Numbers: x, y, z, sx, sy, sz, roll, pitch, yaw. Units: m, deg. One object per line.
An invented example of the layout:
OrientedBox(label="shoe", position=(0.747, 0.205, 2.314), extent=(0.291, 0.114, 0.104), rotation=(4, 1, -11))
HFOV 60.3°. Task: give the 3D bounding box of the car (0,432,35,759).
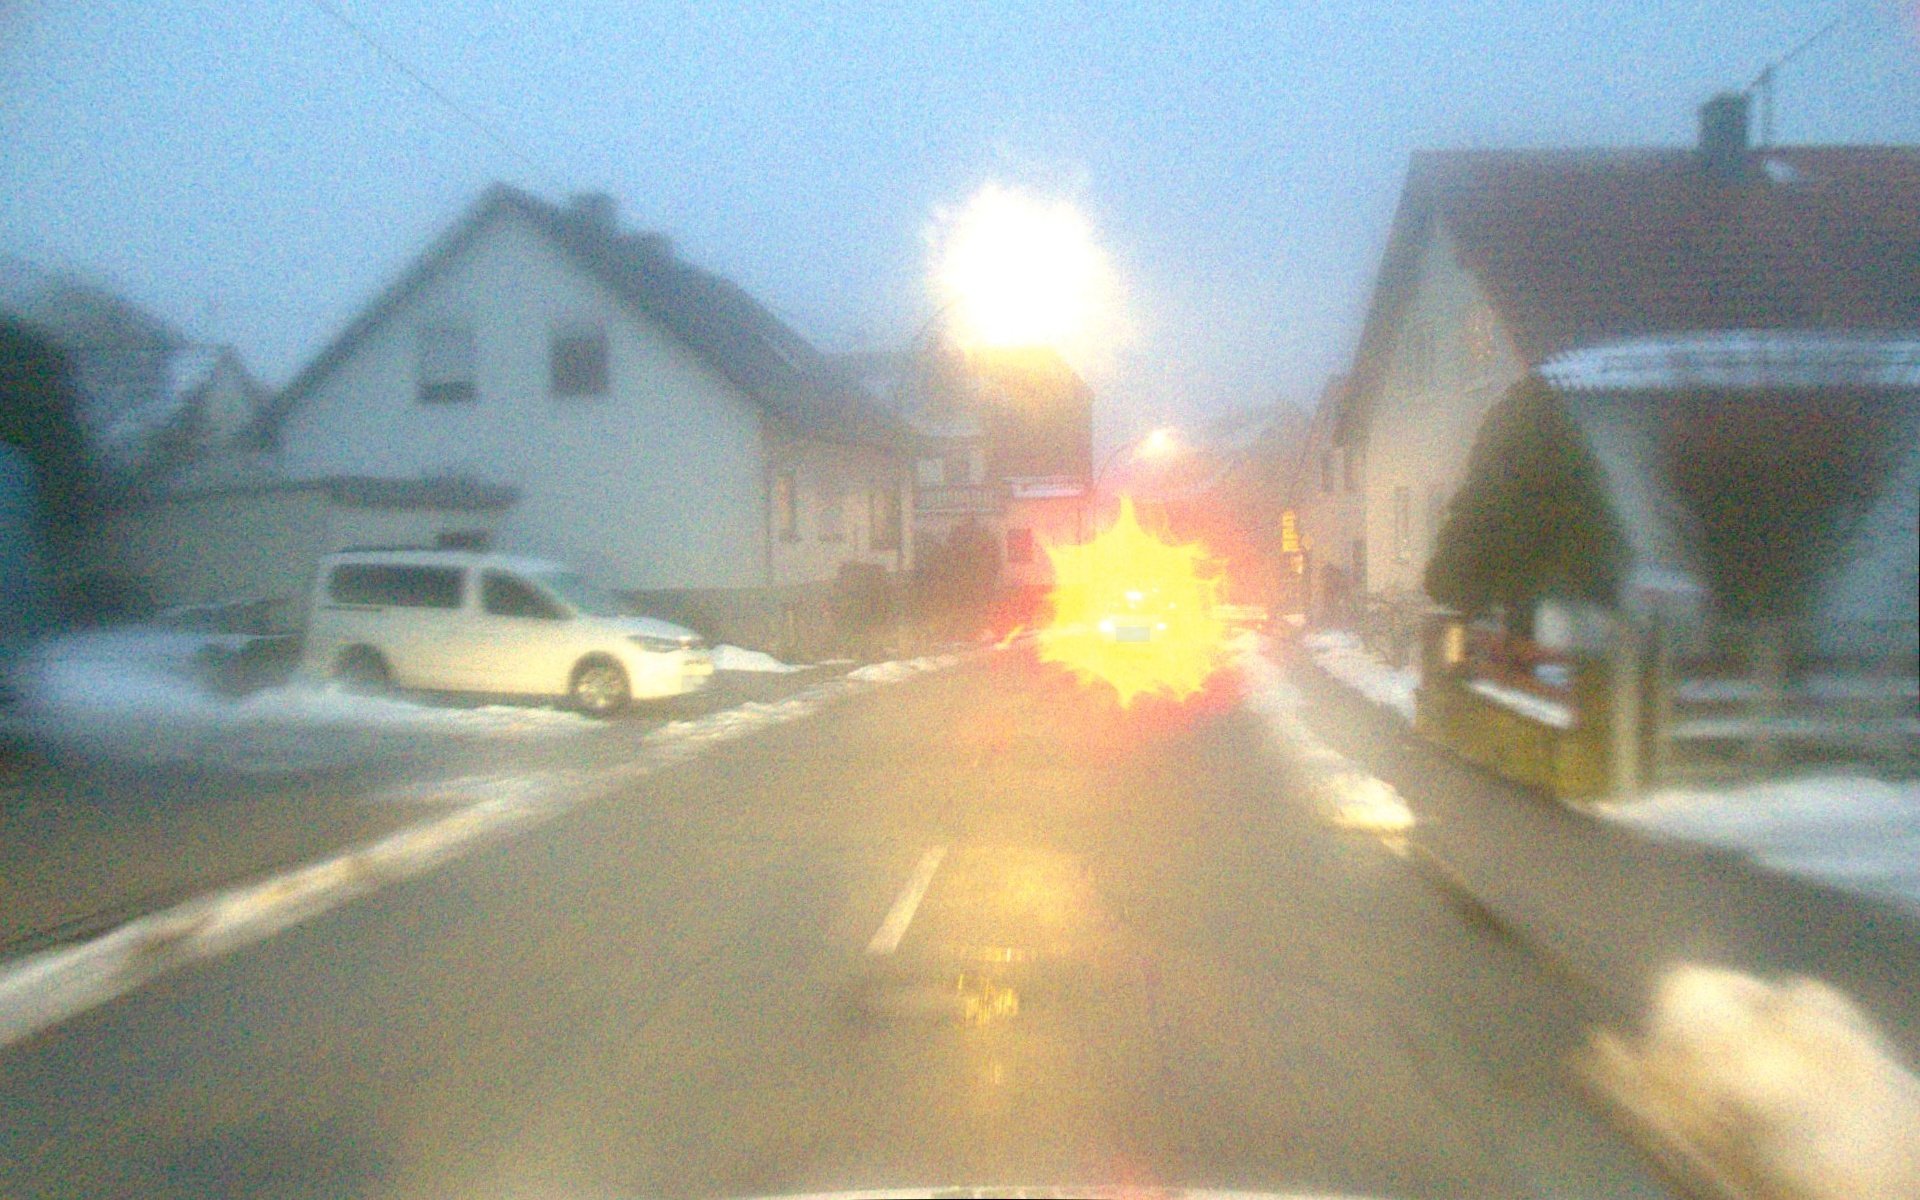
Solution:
OrientedBox(label="car", position=(-8.649, 0.099, 10.953), extent=(3.928, 2.316, 1.990), rotation=(-5, 4, -19))

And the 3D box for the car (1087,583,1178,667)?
OrientedBox(label="car", position=(4.098, 0.538, 38.916), extent=(1.951, 1.533, 4.005), rotation=(-3, 4, 8))

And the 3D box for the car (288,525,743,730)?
OrientedBox(label="car", position=(-5.144, 0.295, 19.411), extent=(4.631, 2.048, 2.003), rotation=(-2, 4, 12))

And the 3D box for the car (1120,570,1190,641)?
OrientedBox(label="car", position=(6.279, 0.131, 52.977), extent=(1.951, 1.869, 4.006), rotation=(-3, 4, 10))

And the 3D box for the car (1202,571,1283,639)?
OrientedBox(label="car", position=(8.938, 0.115, 52.062), extent=(2.203, 1.667, 4.856), rotation=(-2, 4, 13))
